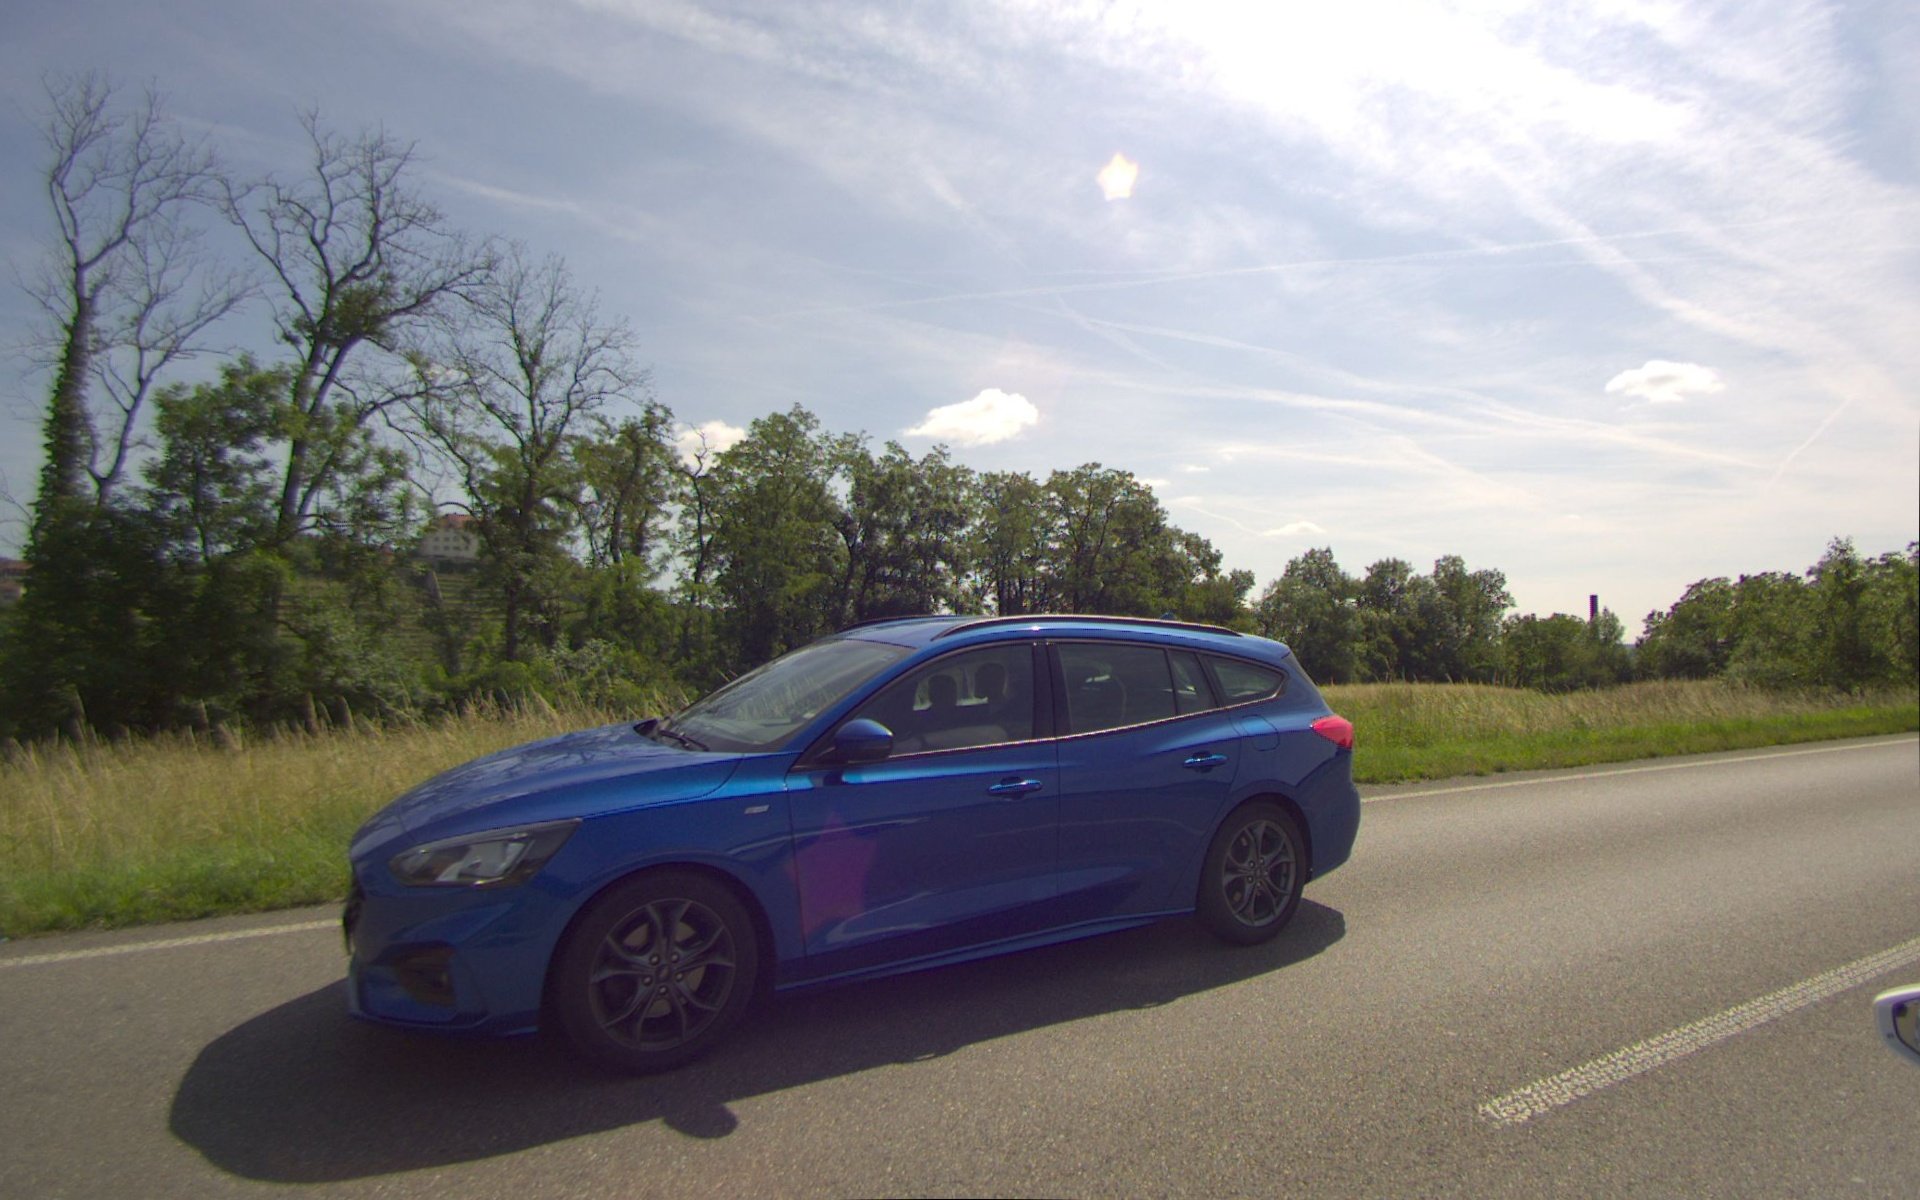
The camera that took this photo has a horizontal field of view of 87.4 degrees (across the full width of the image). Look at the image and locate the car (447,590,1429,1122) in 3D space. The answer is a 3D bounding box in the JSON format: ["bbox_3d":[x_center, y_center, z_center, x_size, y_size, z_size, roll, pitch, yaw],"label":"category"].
[{"bbox_3d":[0.038,0.788,4.753,4.307,1.505,1.854,1,-2,-30],"label":"car"}]

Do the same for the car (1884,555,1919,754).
[{"bbox_3d":[13.763,0.666,12.286,4.845,2.334,2.162,1,-1,-28],"label":"car"}]
